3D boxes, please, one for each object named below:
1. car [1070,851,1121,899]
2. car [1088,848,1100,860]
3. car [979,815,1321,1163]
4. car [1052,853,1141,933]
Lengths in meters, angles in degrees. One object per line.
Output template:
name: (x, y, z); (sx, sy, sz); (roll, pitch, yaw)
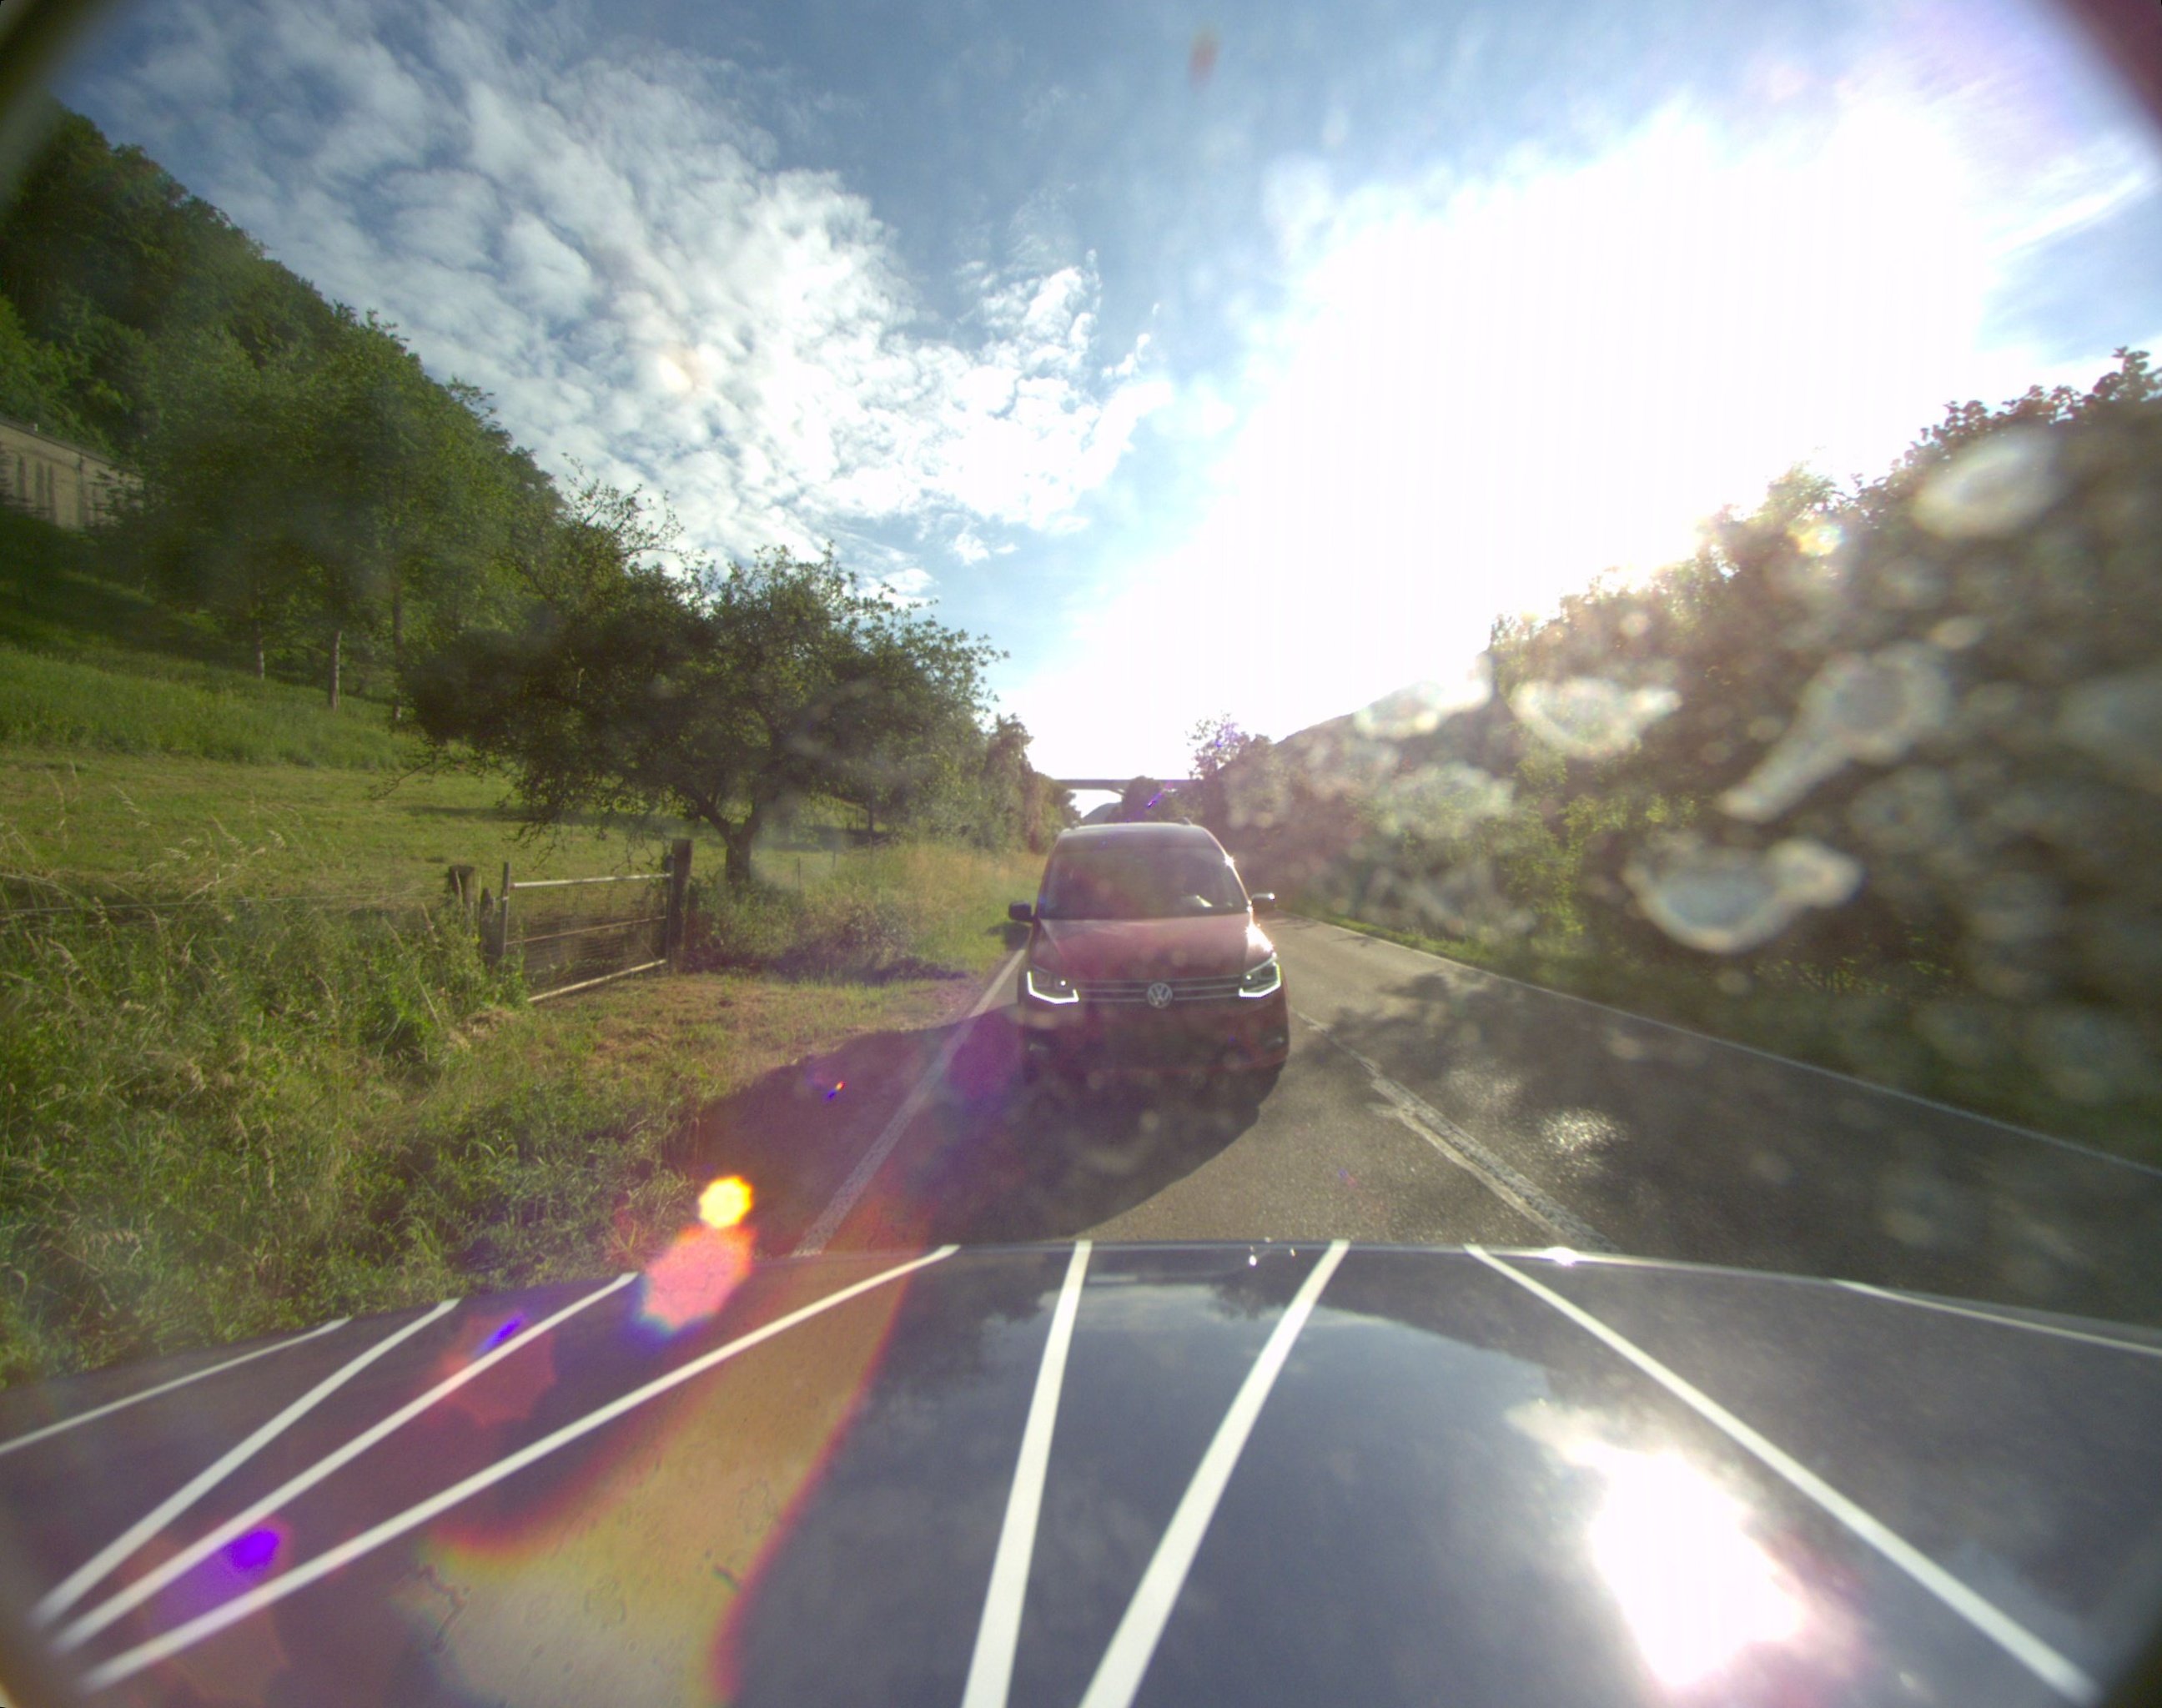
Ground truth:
car: (0.578, 0.753, 29.769); (1.753, 1.608, 4.288); (-3, 1, 1)
car: (1.959, -0.022, 113.100); (1.753, 1.608, 4.288); (-3, 1, 1)
car: (0.418, 0.715, 6.251); (1.753, 1.799, 4.288); (-3, 1, 1)
car: (0.373, 0.802, 17.758); (1.753, 1.513, 4.288); (-3, 1, 1)
